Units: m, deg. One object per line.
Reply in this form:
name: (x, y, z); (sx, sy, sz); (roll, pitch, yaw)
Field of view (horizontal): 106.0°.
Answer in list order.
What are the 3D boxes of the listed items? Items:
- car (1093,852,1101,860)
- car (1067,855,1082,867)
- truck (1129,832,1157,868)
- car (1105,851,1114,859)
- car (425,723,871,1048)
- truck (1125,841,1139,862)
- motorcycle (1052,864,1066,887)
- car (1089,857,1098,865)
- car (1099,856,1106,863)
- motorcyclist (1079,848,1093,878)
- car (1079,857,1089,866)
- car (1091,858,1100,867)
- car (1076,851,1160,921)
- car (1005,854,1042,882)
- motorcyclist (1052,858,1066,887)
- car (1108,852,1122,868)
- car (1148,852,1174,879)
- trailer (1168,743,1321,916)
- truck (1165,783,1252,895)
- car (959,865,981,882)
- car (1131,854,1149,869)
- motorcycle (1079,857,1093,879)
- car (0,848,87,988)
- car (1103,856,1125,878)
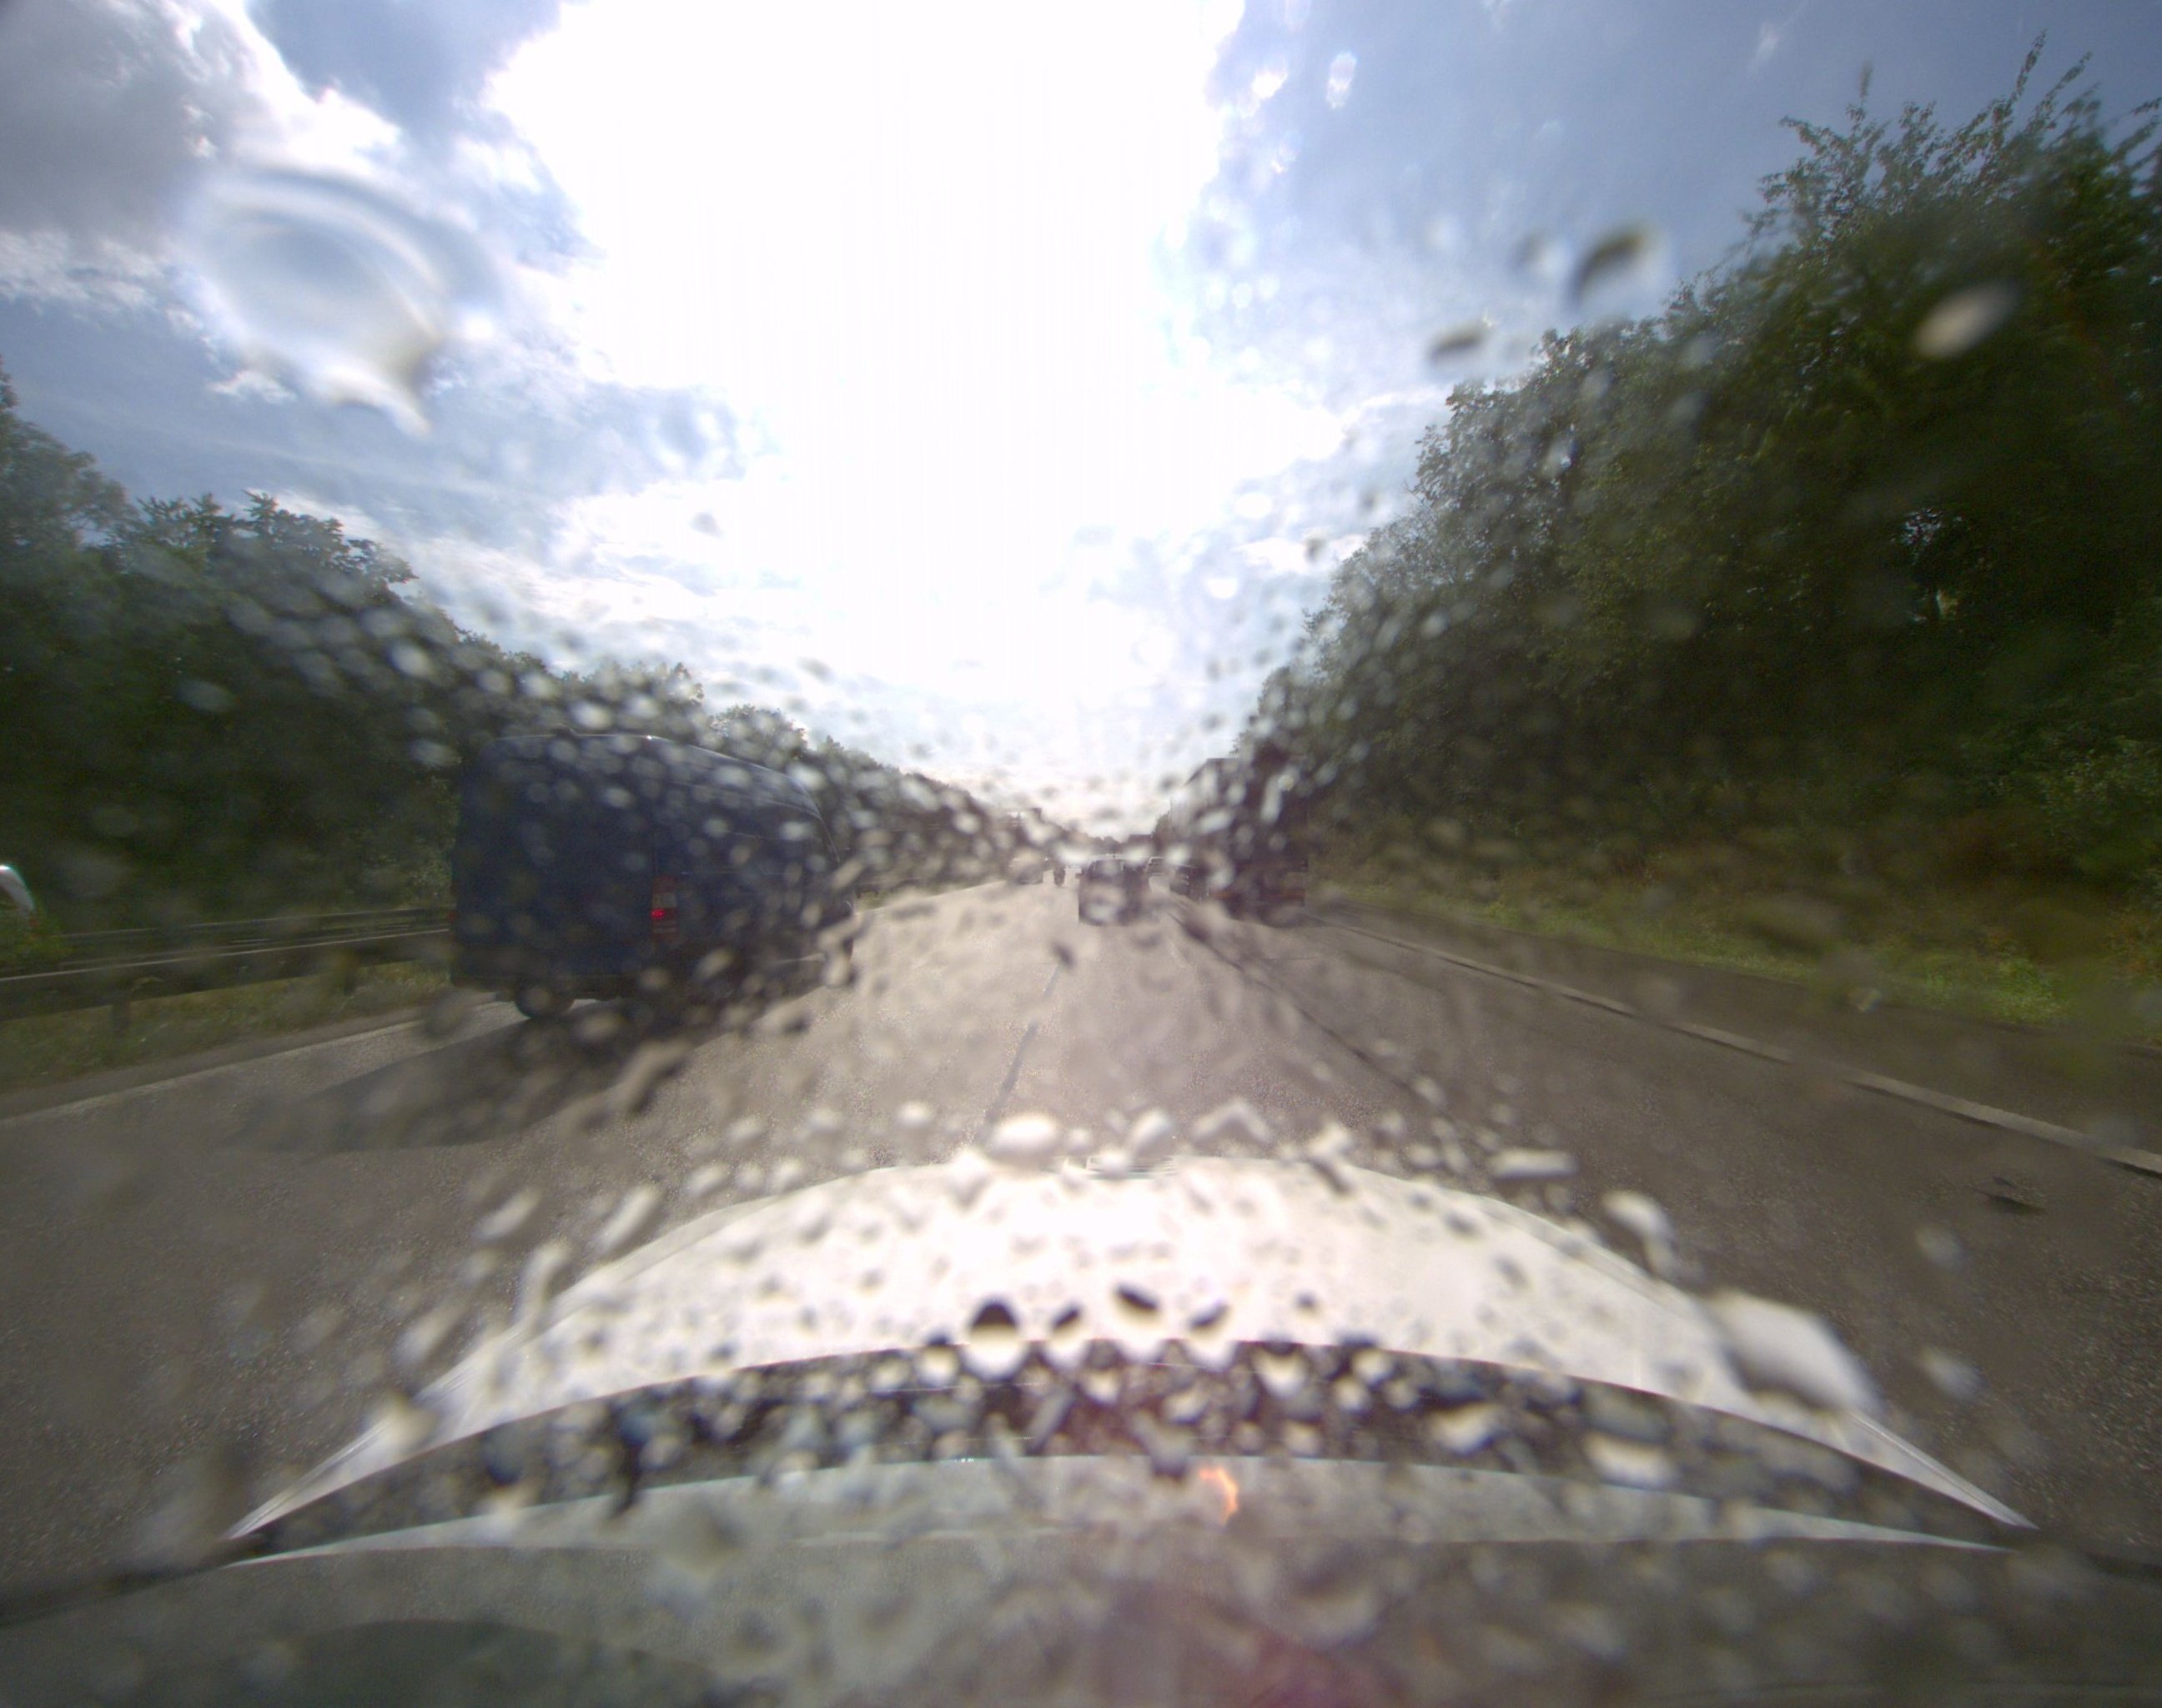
car: (4.043, 0.490, 207.096); (1.986, 2.014, 4.001); (-1, -1, 1)
car: (-0.854, 0.915, 109.890); (1.886, 1.628, 4.196); (-1, 0, 1)
truck: (7.845, -0.462, 104.381); (3.189, 4.404, 9.437); (-1, 0, 2)
car: (5.492, 0.217, 158.132); (1.626, 1.490, 3.437); (-1, 0, 1)
car: (-4.324, 0.271, 9.606); (2.008, 2.648, 5.778); (-1, 0, 2)
truck: (11.393, -0.489, 182.759); (2.871, 4.687, 12.663); (-1, -1, 2)
motorcycle: (-1.105, 1.078, 41.333); (0.674, 1.087, 1.981); (0, 0, -1)
car: (2.515, 1.456, 166.246); (1.669, 1.490, 3.437); (-1, 0, 1)
car: (6.188, 1.467, 230.196); (1.986, 2.014, 4.001); (-1, -1, 1)
motorcyclist: (0.307, 0.524, 48.450); (0.818, 1.761, 1.390); (-1, -1, 0)
car: (0.556, 1.278, 139.775); (1.669, 1.597, 3.437); (-1, 0, 1)
car: (3.353, 1.961, 191.491); (1.986, 2.014, 4.001); (-1, -1, 1)
car: (0.914, 0.746, 20.847); (1.908, 1.565, 4.315); (-1, 0, 1)
car: (-3.380, 0.805, 48.312); (1.752, 1.595, 4.332); (-1, 0, 1)
motorcyclist: (-1.103, 0.909, 41.318); (0.668, 1.442, 1.019); (-1, -1, -1)
car: (4.219, 0.702, 102.247); (1.669, 1.936, 3.774); (-1, 0, 1)
car: (6.361, 0.917, 65.323); (1.842, 2.014, 4.089); (-1, -1, 2)
trailer: (4.882, -0.588, 27.629); (3.075, 4.312, 14.117); (-1, 0, 3)
truck: (5.254, -0.563, 34.607); (3.039, 4.325, 5.890); (-1, 0, 3)
car: (-13.796, 2.393, 101.492); (1.986, 2.014, 4.808); (-1, -1, 2)
car: (6.237, 0.806, 86.558); (1.669, 1.490, 3.437); (-1, 0, 1)
motorcycle: (0.319, 0.843, 48.492); (0.817, 1.263, 2.117); (-1, 0, 0)
car: (-13.928, 0.801, 8.077); (1.901, 1.679, 4.970); (-3, 0, 1)
car: (3.132, 1.232, 77.199); (1.986, 2.014, 4.001); (-1, -1, 1)
